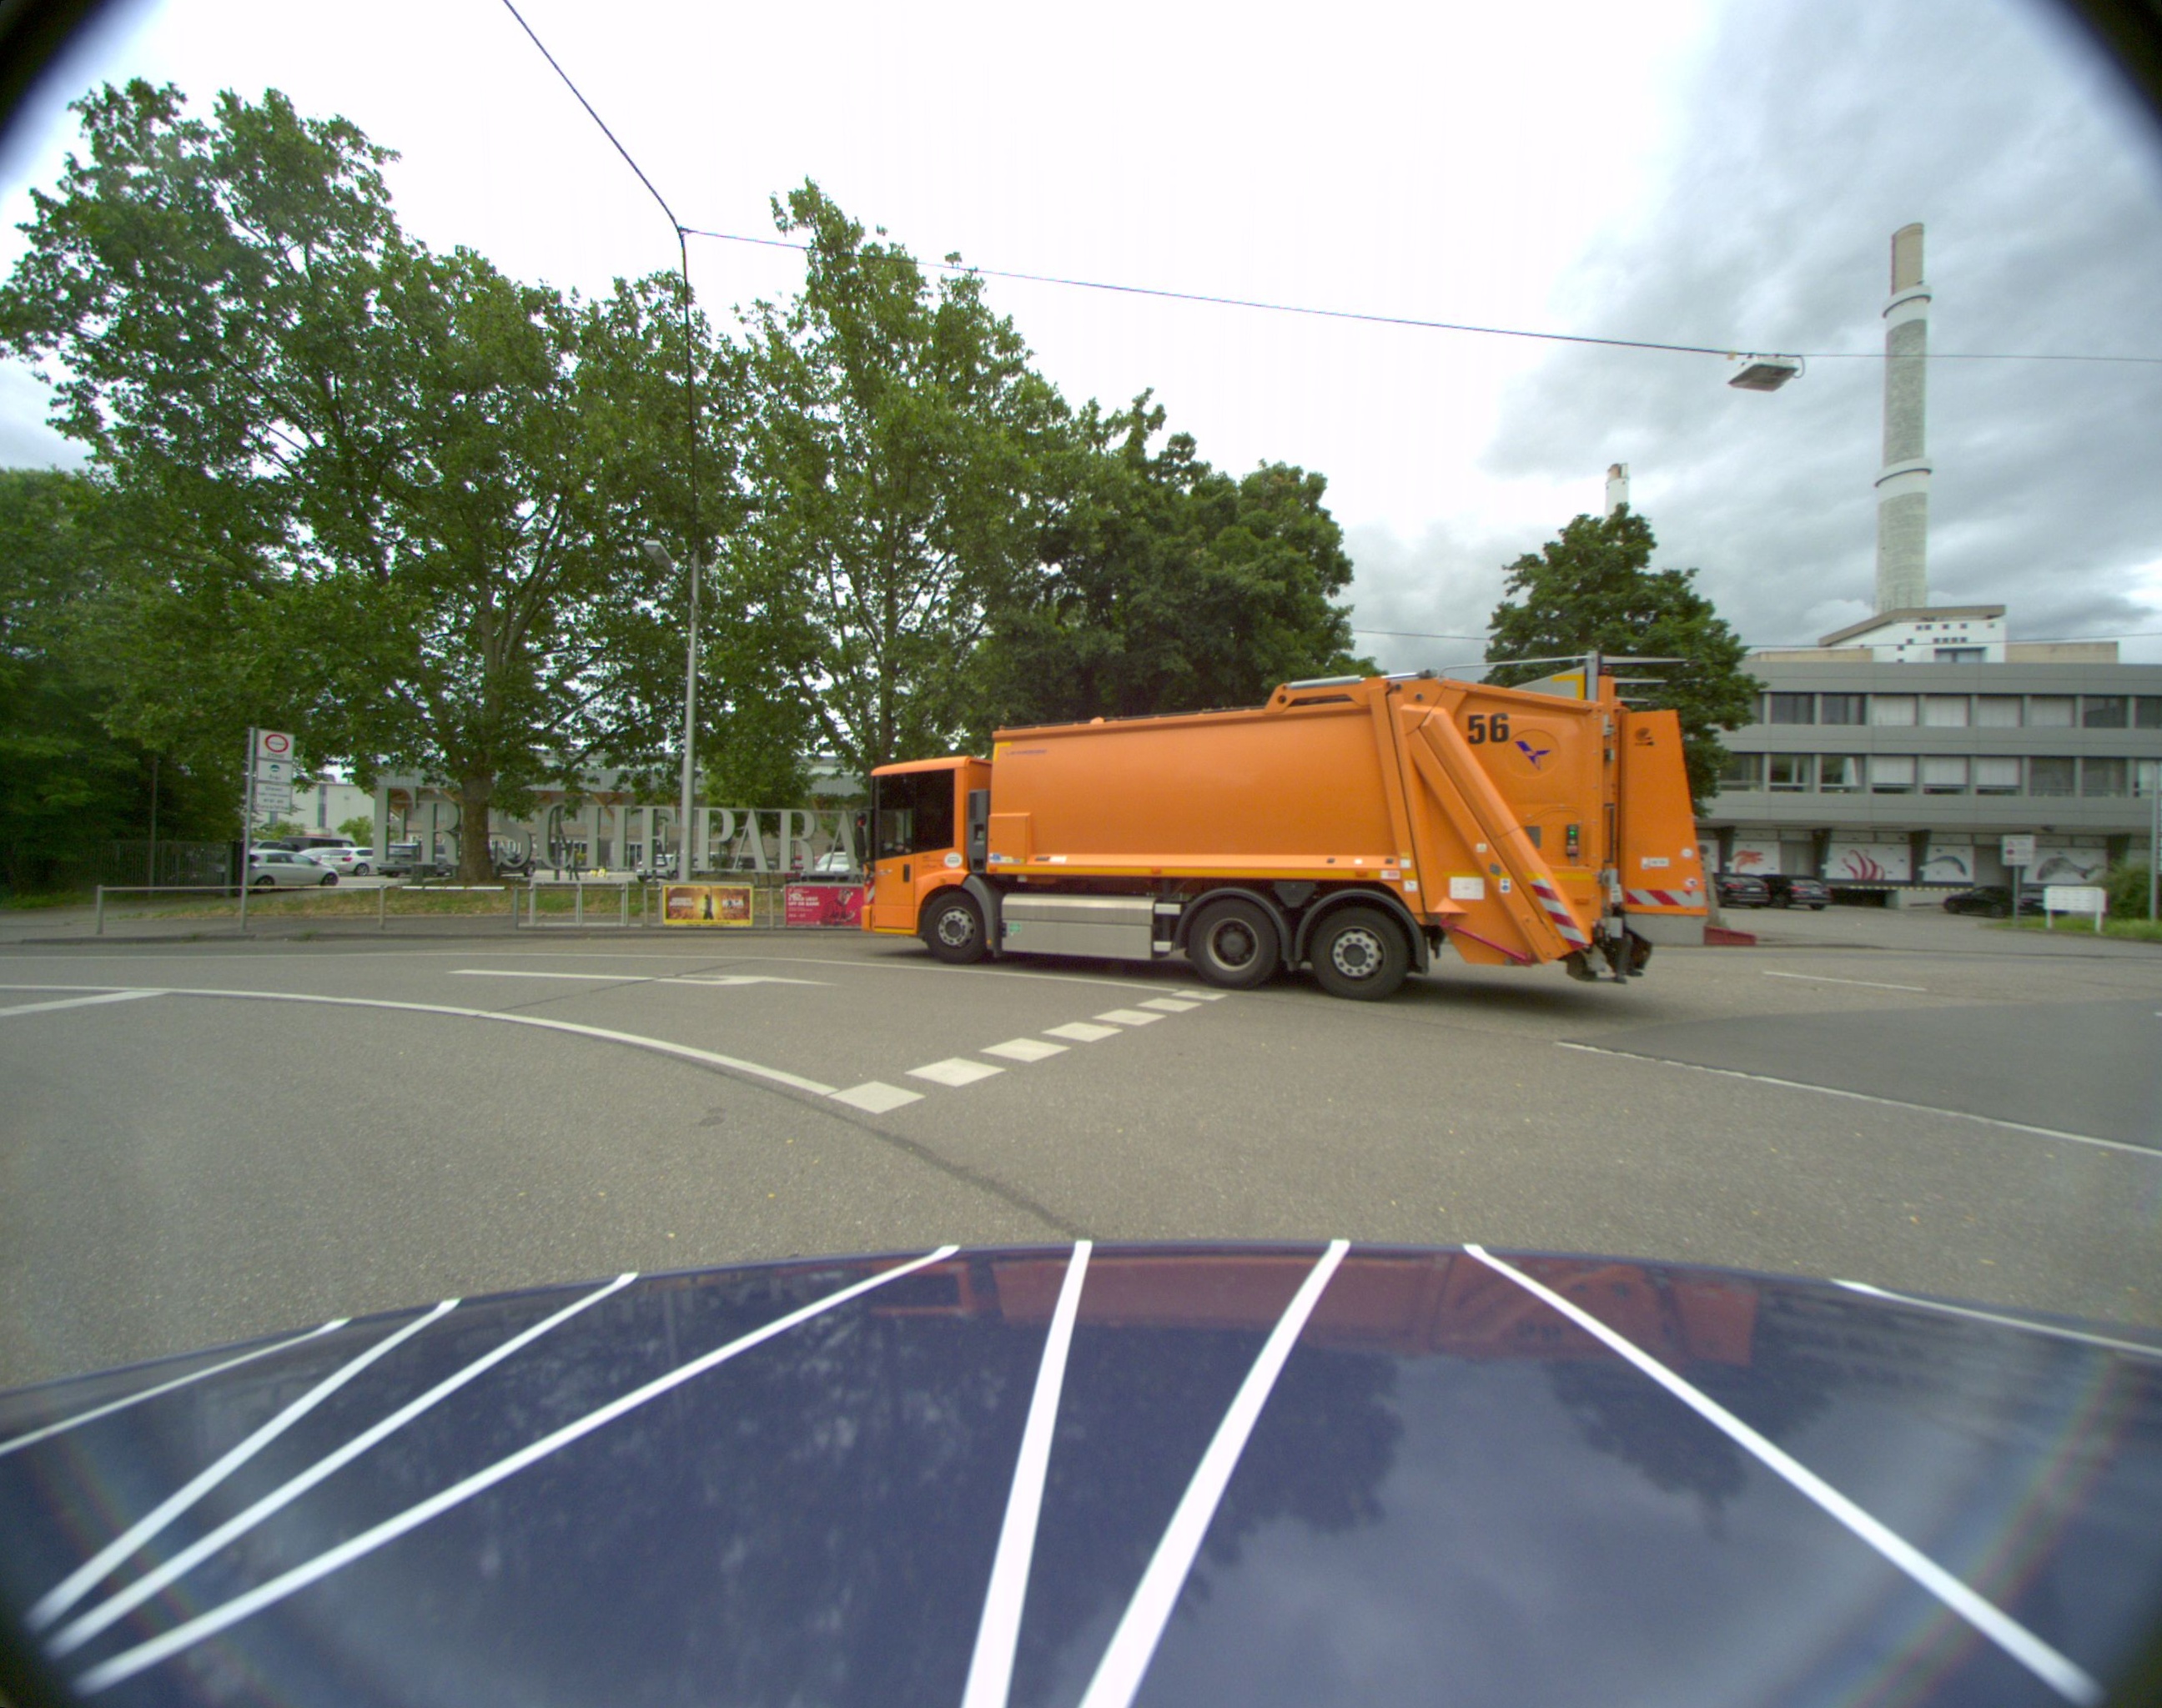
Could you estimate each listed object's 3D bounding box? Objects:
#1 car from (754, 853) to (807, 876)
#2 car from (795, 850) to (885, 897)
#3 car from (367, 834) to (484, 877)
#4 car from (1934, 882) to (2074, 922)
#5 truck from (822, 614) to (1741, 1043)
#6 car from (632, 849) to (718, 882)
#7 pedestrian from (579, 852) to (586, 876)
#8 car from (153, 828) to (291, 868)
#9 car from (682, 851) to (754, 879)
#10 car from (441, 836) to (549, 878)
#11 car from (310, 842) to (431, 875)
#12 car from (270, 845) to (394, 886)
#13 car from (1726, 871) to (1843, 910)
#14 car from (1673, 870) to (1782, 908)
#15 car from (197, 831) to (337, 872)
[{"bbox_3d":[-21.843,0.788,55.456,1.999,1.552,4.641,1,-1,-1],"label":"car"},{"bbox_3d":[-9.015,0.748,28.886,1.883,1.603,4.527,1,-2,1],"label":"car"},{"bbox_3d":[-33.630,0.114,39.170,1.999,2.001,4.641,1,-1,-1],"label":"car"},{"bbox_3d":[42.432,2.145,35.130,2.045,1.437,4.836,1,1,23],"label":"car"},{"bbox_3d":[1.458,-0.127,9.894,10.394,3.505,2.803,-1,-1,28],"label":"truck"},{"bbox_3d":[-21.108,0.618,39.730,1.999,1.552,4.641,1,-1,-1],"label":"car"},{"bbox_3d":[-37.765,0.756,57.561,0.342,1.754,0.437,2,-2,-23],"label":"pedestrian"},{"bbox_3d":[-46.770,-0.267,41.559,1.999,2.001,4.824,1,-1,-1],"label":"car"},{"bbox_3d":[-21.180,0.658,44.592,1.999,1.552,4.641,1,-1,-1],"label":"car"},{"bbox_3d":[-30.257,0.179,39.476,1.999,2.001,4.641,1,-1,-1],"label":"car"},{"bbox_3d":[-36.911,0.272,39.672,1.999,1.549,4.641,1,-1,-1],"label":"car"},{"bbox_3d":[-39.695,0.632,40.484,1.999,2.001,4.641,1,-1,-1],"label":"car"},{"bbox_3d":[34.474,1.741,37.410,1.837,1.608,4.425,2,0,5],"label":"car"},{"bbox_3d":[31.671,1.682,37.441,1.836,1.608,4.467,2,0,6],"label":"car"},{"bbox_3d":[-43.489,-0.075,40.806,1.999,1.986,5.103,1,-1,-1],"label":"car"}]
